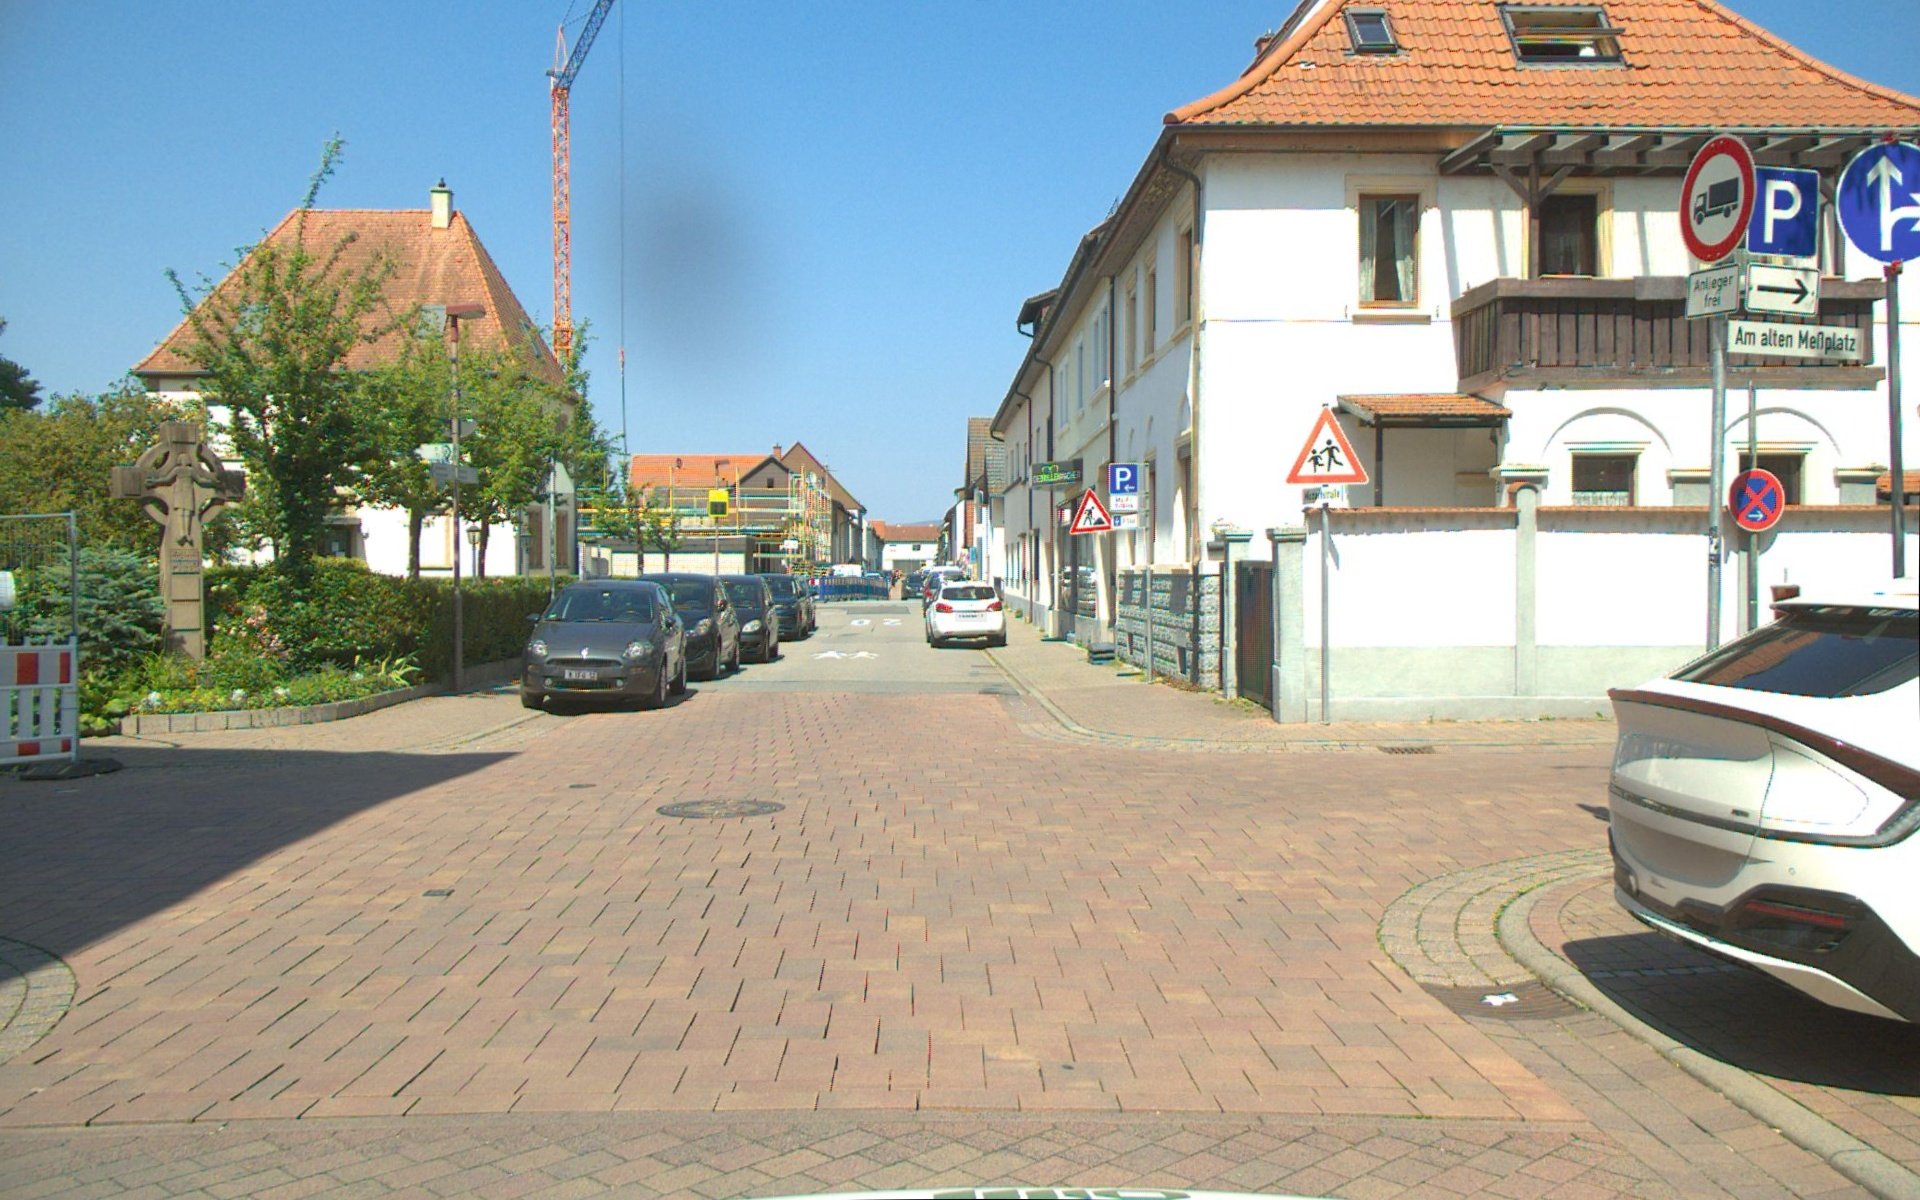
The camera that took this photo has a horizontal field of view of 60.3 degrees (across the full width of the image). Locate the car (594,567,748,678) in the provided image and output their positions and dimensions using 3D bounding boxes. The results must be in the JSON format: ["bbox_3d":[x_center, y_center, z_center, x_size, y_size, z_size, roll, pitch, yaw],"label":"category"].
[{"bbox_3d":[-4.541,0.297,26.527,1.778,1.633,4.024,0,1,0],"label":"car"}]

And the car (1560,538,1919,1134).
[{"bbox_3d":[4.481,0.551,5.423,4.350,1.603,1.788,-2,1,-1],"label":"car"}]

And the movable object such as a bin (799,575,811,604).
[{"bbox_3d":[-6.382,-0.427,68.090,0.423,1.175,0.363,0,1,-11],"label":"movable object such as a bin"}]

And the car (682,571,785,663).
[{"bbox_3d":[-4.353,0.277,32.208,1.605,1.657,3.767,0,1,-2],"label":"car"}]

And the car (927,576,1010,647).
[{"bbox_3d":[0.255,0.235,39.475,1.847,1.569,4.244,0,1,2],"label":"car"}]

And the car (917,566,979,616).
[{"bbox_3d":[-0.459,-0.352,59.281,1.848,1.583,3.891,-4,1,-4],"label":"car"}]

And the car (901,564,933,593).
[{"bbox_3d":[-2.593,-1.304,99.268,1.844,1.697,4.152,0,1,-2],"label":"car"}]

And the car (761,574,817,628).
[{"bbox_3d":[-4.974,-0.009,48.411,1.407,1.500,3.784,0,1,-3],"label":"car"}]

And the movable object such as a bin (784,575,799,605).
[{"bbox_3d":[-6.886,-0.414,67.579,0.610,1.175,0.676,0,1,-9],"label":"movable object such as a bin"}]

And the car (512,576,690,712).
[{"bbox_3d":[-4.370,0.469,20.649,1.669,1.523,3.853,0,1,-5],"label":"car"}]

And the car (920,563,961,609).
[{"bbox_3d":[-0.770,-0.576,64.446,1.532,1.641,3.542,0,3,-2],"label":"car"}]

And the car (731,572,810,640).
[{"bbox_3d":[-4.870,0.120,42.976,1.790,1.659,4.215,0,1,-3],"label":"car"}]
